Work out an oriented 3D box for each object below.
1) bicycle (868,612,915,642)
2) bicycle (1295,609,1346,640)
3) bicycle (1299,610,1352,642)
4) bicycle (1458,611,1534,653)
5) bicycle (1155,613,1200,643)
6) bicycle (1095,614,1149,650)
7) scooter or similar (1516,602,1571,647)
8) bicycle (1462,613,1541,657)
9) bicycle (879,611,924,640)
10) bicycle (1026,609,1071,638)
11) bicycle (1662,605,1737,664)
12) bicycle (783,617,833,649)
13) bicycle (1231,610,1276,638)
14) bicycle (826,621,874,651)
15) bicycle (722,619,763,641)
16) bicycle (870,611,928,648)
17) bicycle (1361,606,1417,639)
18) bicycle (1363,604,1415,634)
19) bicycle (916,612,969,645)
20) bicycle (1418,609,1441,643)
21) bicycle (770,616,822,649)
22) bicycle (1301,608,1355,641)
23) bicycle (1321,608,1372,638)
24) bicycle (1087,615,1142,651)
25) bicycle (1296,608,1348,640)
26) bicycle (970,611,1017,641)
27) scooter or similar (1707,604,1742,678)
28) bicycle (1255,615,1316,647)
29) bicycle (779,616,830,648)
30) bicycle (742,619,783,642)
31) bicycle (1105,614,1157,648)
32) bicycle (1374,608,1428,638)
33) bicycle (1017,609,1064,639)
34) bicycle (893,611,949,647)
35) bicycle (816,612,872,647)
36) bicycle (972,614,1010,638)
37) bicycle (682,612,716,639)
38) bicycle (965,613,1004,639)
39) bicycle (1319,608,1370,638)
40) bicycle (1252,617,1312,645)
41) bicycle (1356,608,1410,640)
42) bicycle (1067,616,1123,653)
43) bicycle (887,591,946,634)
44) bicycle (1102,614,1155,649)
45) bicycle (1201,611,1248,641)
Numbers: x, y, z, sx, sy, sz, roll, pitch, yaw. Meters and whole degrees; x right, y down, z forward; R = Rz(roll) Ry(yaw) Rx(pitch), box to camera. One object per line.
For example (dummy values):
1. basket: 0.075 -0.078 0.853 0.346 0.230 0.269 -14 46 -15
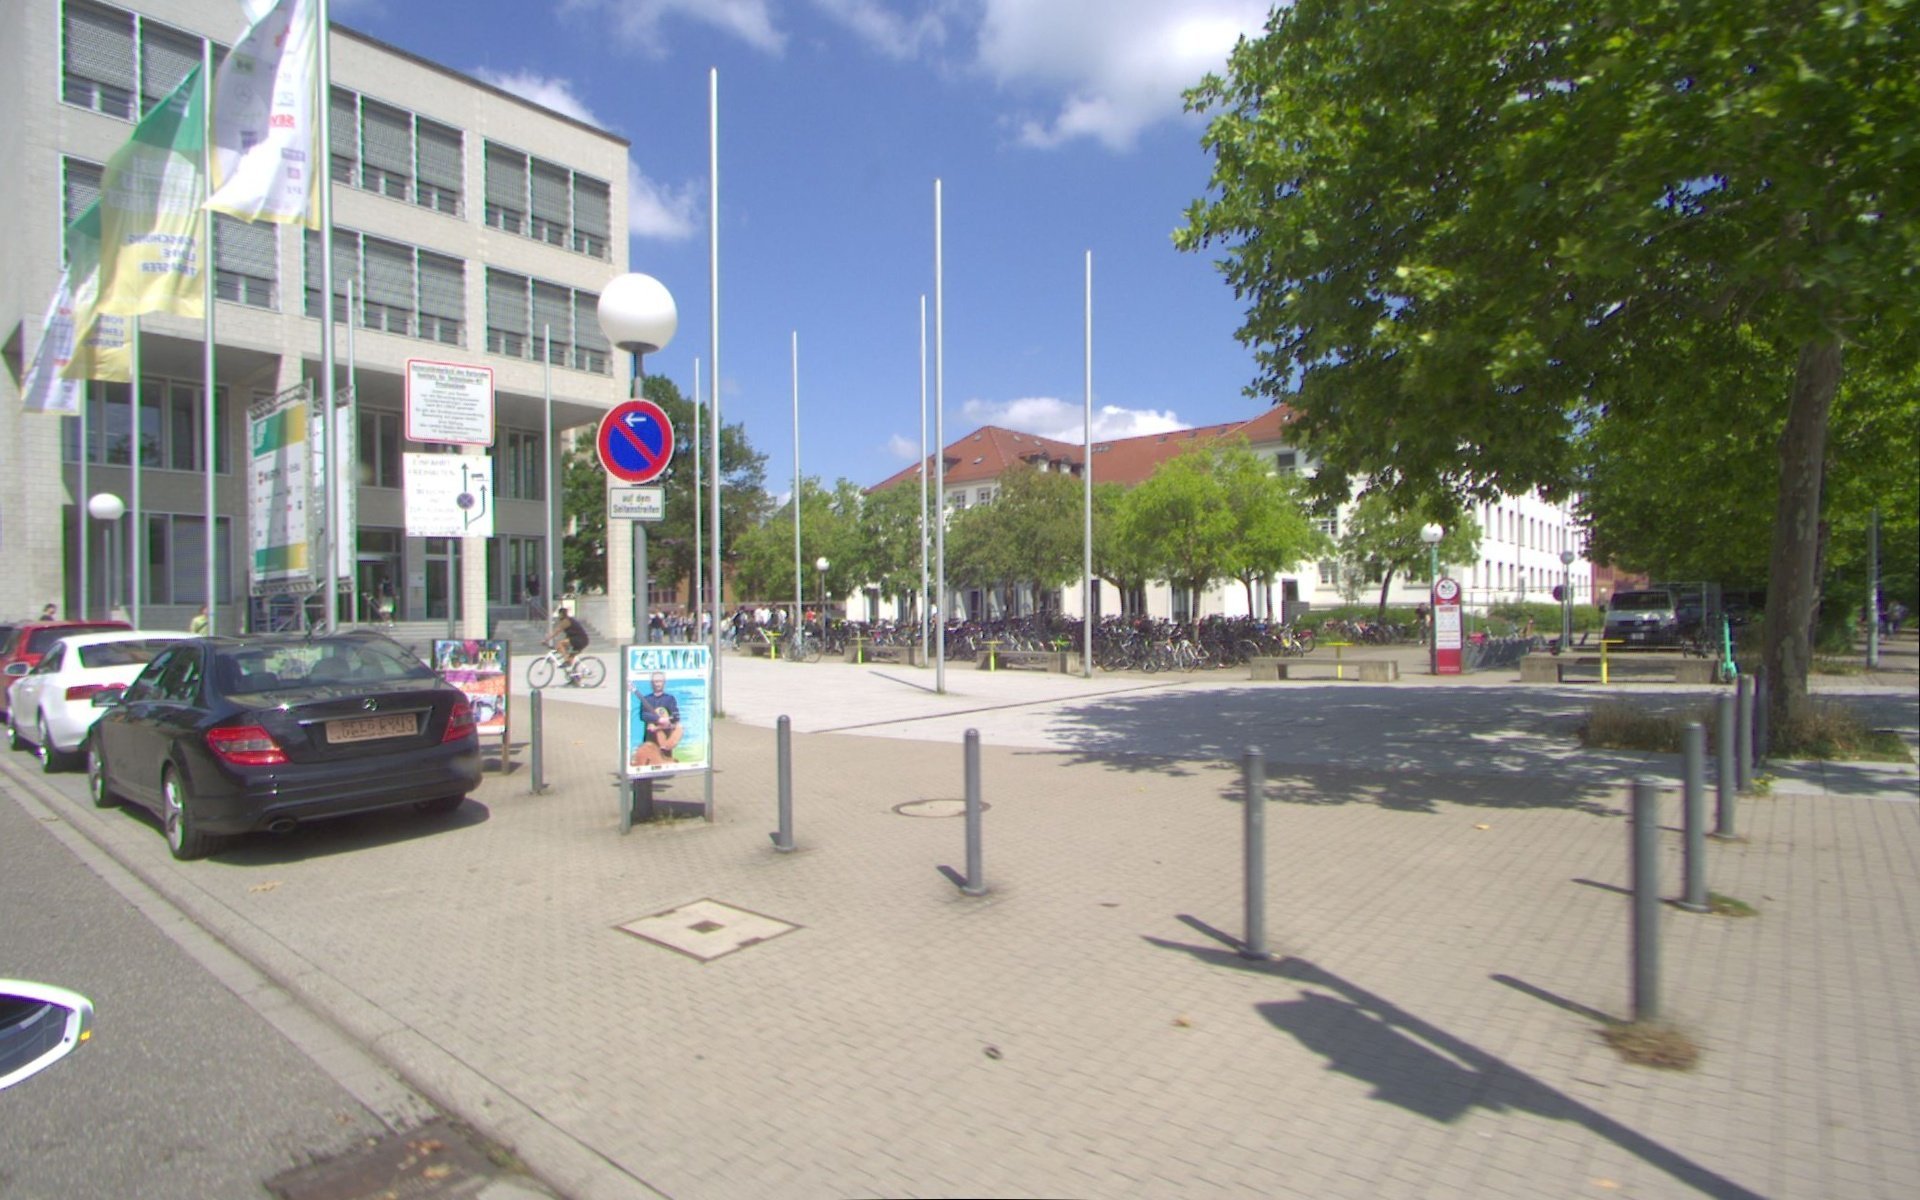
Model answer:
1. bicycle: -2.727 1.071 40.010 1.734 1.113 0.604 -2 -1 10
2. bicycle: 13.829 0.929 38.426 1.734 1.113 0.603 -2 -1 10
3. bicycle: 13.501 0.962 37.034 1.734 1.113 0.603 -2 -1 10
4. bicycle: 14.923 0.886 27.904 1.734 1.113 0.603 -2 -1 10
5. bicycle: 8.730 1.117 40.228 1.734 1.113 0.604 -2 -1 10
6. bicycle: 5.434 1.069 33.555 1.734 1.113 0.604 -2 -1 10
7. scooter or similar: 16.419 0.688 28.195 1.278 1.250 0.280 -1 1 27
8. bicycle: 14.707 0.944 27.235 1.734 1.113 0.603 -2 -1 10
9. bicycle: -2.404 1.045 41.230 1.734 1.113 0.604 -2 -1 10
10. bicycle: 3.522 0.935 39.863 1.734 1.113 0.604 -2 -1 10
11. bicycle: 15.960 0.731 21.596 2.007 1.198 0.794 -1 -1 -39
12. bicycle: -5.757 1.247 37.824 1.734 1.113 0.604 -2 -1 10
13. bicycle: 12.415 1.028 42.341 1.734 1.113 0.604 -2 -1 10
14. bicycle: -4.285 1.398 39.198 1.734 1.113 0.604 -2 -1 10
15. bicycle: -8.234 1.123 37.979 0.512 0.803 1.760 0 0 28
16. bicycle: -1.969 0.957 32.386 1.734 1.113 0.604 -2 -1 10
17. bicycle: 15.582 0.812 36.412 1.734 1.113 0.603 -2 -1 10
18. bicycle: 16.978 0.739 39.663 1.734 1.113 0.604 -2 -1 10
19. bicycle: -0.621 1.006 35.237 1.734 1.113 0.604 -2 -1 10
20. bicycle: 17.056 0.936 36.362 0.599 1.153 1.579 1 1 31
21. bicycle: -5.948 1.174 36.380 1.734 1.113 0.604 -2 -1 10
22. bicycle: 13.293 0.892 36.204 1.734 1.113 0.603 -2 -1 10
23. bicycle: 14.991 0.896 38.852 1.734 1.113 0.516 -2 -1 10
24. bicycle: 5.090 1.094 32.906 1.734 1.113 0.604 -2 -1 10
25. bicycle: 13.630 0.904 37.744 1.734 1.113 0.603 -2 -1 10
26. bicycle: 1.296 1.004 38.592 1.734 1.113 0.604 -2 -1 10
27. scooter or similar: 12.741 0.674 16.680 0.349 1.180 1.183 -2 -1 41
28. bicycle: 10.090 0.961 31.066 1.734 0.967 0.604 0 0 10
29. bicycle: -5.764 1.196 37.080 1.734 1.113 0.604 -2 -1 10
30. bicycle: -7.336 1.110 37.310 0.512 0.803 1.760 0 0 28
31. bicycle: 5.966 1.083 34.898 1.734 1.113 0.604 -2 -1 10
32. bicycle: 16.880 0.882 38.361 1.734 1.113 0.604 -2 -1 10
33. bicycle: 3.137 0.928 39.054 1.734 1.113 0.604 -2 -1 10
34. bicycle: -1.277 0.962 33.220 1.734 1.113 0.604 -2 -1 10
35. bicycle: -3.932 1.004 33.939 1.734 1.113 0.604 -2 -1 10
36. bicycle: 1.489 1.247 48.333 1.734 1.113 0.604 -2 -1 10
37. bicycle: -11.397 1.103 43.756 0.670 1.153 1.690 1 1 15
38. bicycle: 1.138 1.216 46.634 1.734 1.113 0.604 -2 -1 10
39. bicycle: 15.139 0.906 39.453 1.734 1.113 0.592 -2 -1 10
40. bicycle: 10.234 0.982 31.861 1.734 0.880 0.484 0 0 10
41. bicycle: 15.811 0.887 37.436 1.734 1.113 0.603 -2 -1 10
42. bicycle: 4.378 1.105 32.338 1.734 1.113 0.604 -2 -1 10
43. bicycle: -1.425 0.403 32.535 1.838 1.313 0.662 -2 -1 -7
44. bicycle: 5.758 1.073 34.216 1.734 1.113 0.604 -2 -1 10
45. bicycle: 10.529 1.040 39.860 1.734 1.113 0.604 -2 -1 10
